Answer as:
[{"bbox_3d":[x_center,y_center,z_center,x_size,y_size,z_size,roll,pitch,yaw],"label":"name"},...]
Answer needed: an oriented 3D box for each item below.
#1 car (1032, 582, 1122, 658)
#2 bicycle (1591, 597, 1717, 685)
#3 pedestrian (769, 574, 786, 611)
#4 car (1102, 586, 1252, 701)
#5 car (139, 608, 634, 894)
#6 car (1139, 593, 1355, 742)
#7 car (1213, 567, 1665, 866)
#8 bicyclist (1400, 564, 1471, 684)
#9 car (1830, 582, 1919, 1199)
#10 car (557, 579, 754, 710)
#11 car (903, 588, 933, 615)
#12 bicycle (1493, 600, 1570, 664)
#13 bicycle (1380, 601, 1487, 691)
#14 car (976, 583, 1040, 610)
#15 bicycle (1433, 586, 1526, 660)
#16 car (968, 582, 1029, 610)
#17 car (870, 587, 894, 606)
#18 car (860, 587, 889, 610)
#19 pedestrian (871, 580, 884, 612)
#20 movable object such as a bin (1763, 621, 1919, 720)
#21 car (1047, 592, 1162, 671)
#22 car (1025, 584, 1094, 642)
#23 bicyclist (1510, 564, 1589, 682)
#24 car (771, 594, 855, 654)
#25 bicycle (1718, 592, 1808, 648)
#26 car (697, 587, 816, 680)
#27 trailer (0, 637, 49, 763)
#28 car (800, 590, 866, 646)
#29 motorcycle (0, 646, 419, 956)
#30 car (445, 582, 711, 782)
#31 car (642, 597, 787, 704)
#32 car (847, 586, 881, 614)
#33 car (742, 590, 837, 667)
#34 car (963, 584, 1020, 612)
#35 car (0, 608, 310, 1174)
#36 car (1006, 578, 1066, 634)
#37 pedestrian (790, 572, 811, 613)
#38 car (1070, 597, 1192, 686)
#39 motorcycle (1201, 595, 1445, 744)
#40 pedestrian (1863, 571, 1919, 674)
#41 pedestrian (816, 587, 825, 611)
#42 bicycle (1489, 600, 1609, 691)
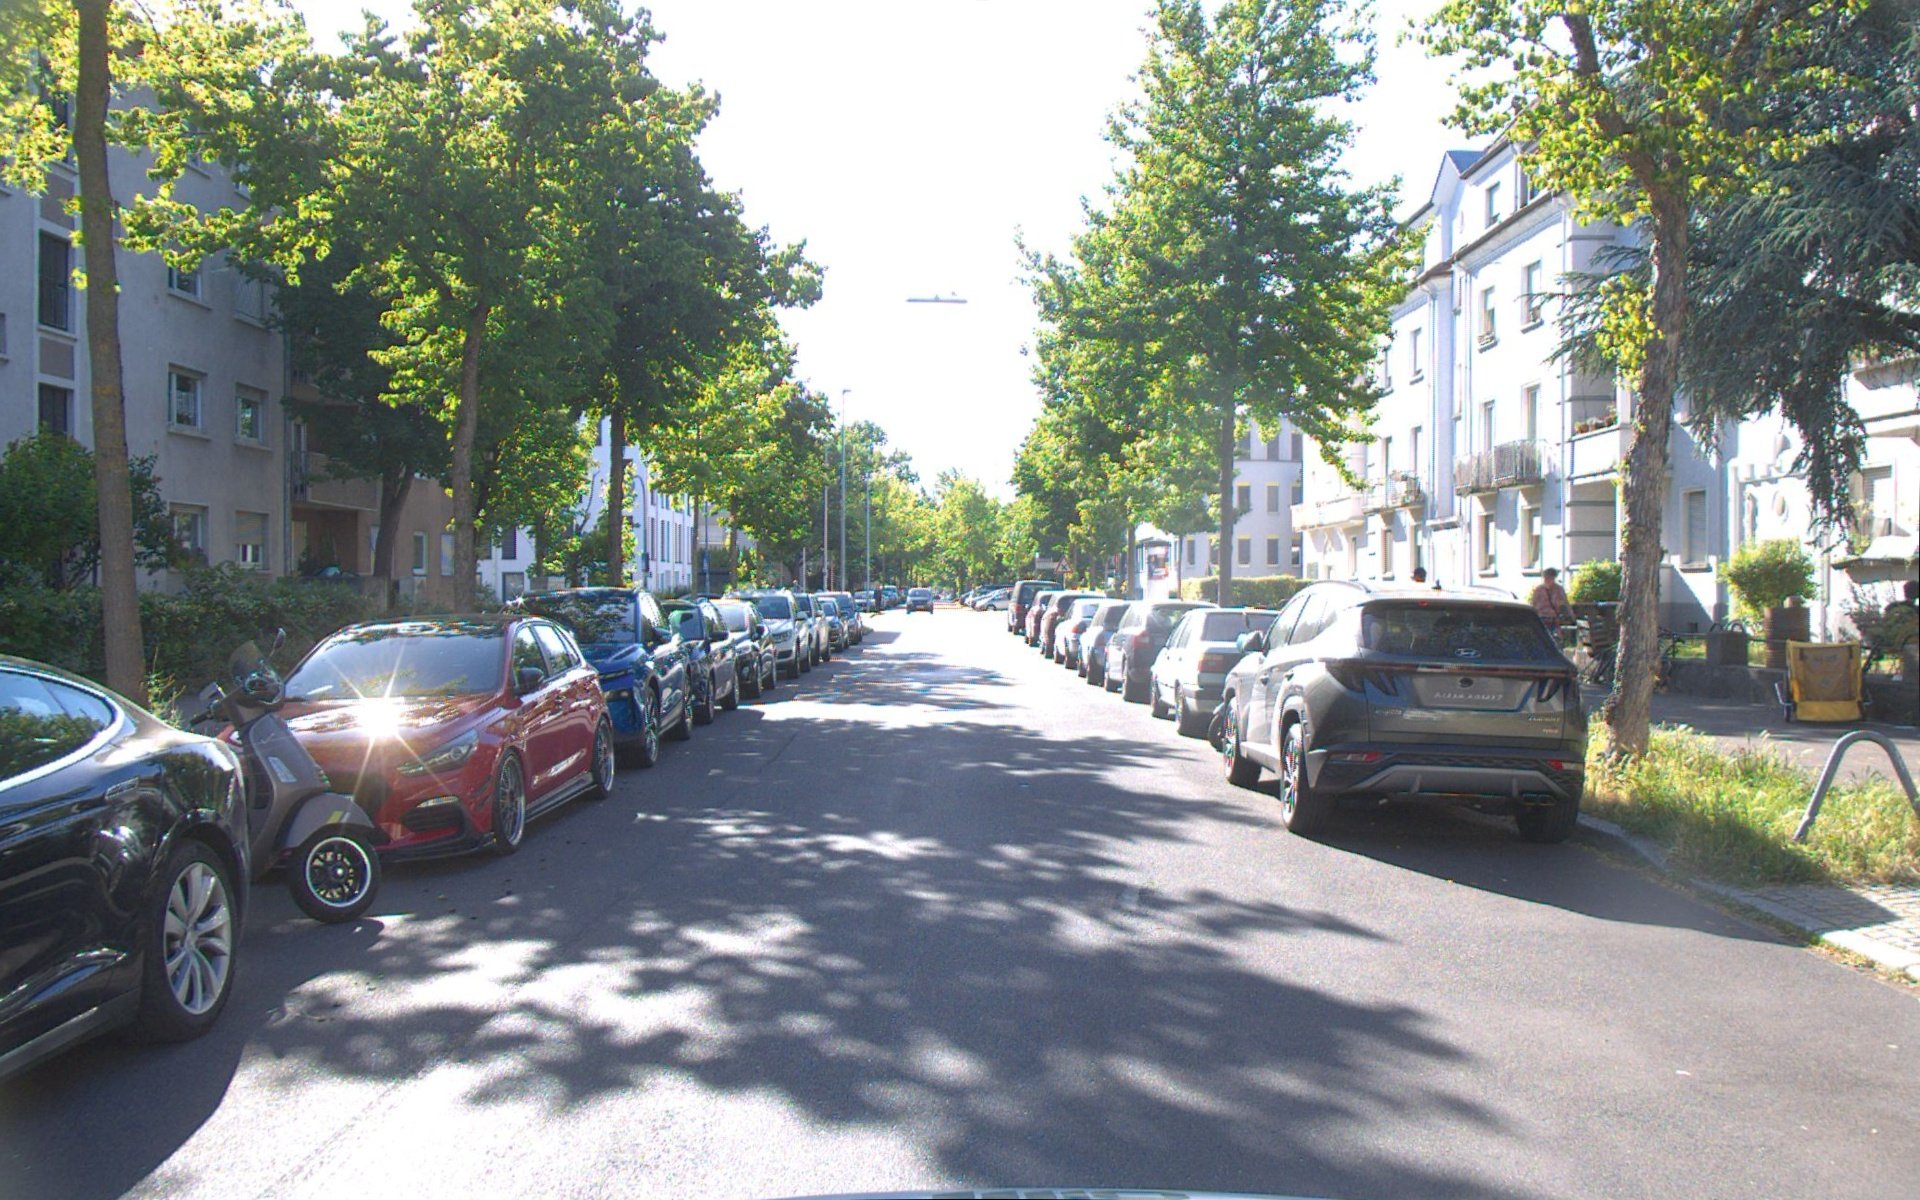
[{"bbox_3d":[2.907,0.457,41.881,1.868,1.728,4.313,2,1,-1],"label":"car"},{"bbox_3d":[9.399,0.535,22.479,0.788,1.135,1.999,0,0,-3],"label":"bicycle"},{"bbox_3d":[-10.374,-0.427,94.112,0.842,2.049,0.981,-1,0,-3],"label":"pedestrian"},{"bbox_3d":[3.218,0.590,25.299,1.658,1.567,4.441,1,1,0],"label":"car"},{"bbox_3d":[-3.470,0.811,10.936,1.743,1.403,4.262,-2,0,0],"label":"car"},{"bbox_3d":[3.265,0.699,19.658,1.715,1.479,4.462,2,1,0],"label":"car"},{"bbox_3d":[3.165,0.644,12.140,1.886,1.680,5.096,2,1,1],"label":"car"},{"bbox_3d":[6.623,0.327,23.078,0.663,1.637,0.921,-1,0,-4],"label":"bicyclist"},{"bbox_3d":[3.269,0.778,2.560,1.621,1.559,3.968,2,0,-2],"label":"car"},{"bbox_3d":[-3.807,0.510,21.341,1.792,1.478,4.121,-1,0,-1],"label":"car"},{"bbox_3d":[-2.603,0.066,101.713,1.747,1.637,3.998,-1,0,-3],"label":"car"},{"bbox_3d":[9.318,0.506,27.026,0.583,0.974,1.903,-1,0,-1],"label":"bicycle"},{"bbox_3d":[6.611,0.613,23.243,0.670,1.173,2.401,-1,0,-4],"label":"bicycle"},{"bbox_3d":[3.024,-0.241,104.685,3.909,1.615,1.725,-1,0,-5],"label":"car"},{"bbox_3d":[9.210,0.389,29.425,0.822,1.279,2.229,0,0,-4],"label":"bicycle"},{"bbox_3d":[2.536,-0.285,109.898,3.907,1.837,1.888,-1,0,-3],"label":"car"},{"bbox_3d":[-6.725,-0.337,143.172,1.953,1.613,4.000,-1,1,0],"label":"car"},{"bbox_3d":[-6.258,-0.122,121.391,1.953,1.613,4.000,-1,1,0],"label":"car"},{"bbox_3d":[-5.022,-0.219,100.499,0.702,1.933,0.835,-1,0,-10],"label":"pedestrian"},{"bbox_3d":[9.050,0.703,17.055,1.196,0.920,1.665,0,1,20],"label":"movable object such as a bin"},{"bbox_3d":[3.025,0.636,35.584,1.859,1.500,4.698,3,0,-2],"label":"car"},{"bbox_3d":[2.982,0.354,50.117,1.797,1.628,4.158,2,1,0],"label":"car"},{"bbox_3d":[8.118,0.300,22.812,0.663,1.580,1.021,-1,0,-4],"label":"bicyclist"},{"bbox_3d":[-4.030,0.615,45.934,1.953,1.478,4.261,-3,0,-1],"label":"car"},{"bbox_3d":[15.659,0.392,32.261,1.550,0.988,0.475,-3,0,-8],"label":"bicycle"},{"bbox_3d":[-3.812,0.587,31.620,1.774,1.624,4.232,-1,0,-1],"label":"car"},{"bbox_3d":[-9.071,0.870,13.169,1.752,1.052,3.282,0,0,1],"label":"trailer"},{"bbox_3d":[-3.948,0.521,52.005,1.802,1.623,4.261,-2,0,-1],"label":"car"},{"bbox_3d":[-3.840,0.927,7.912,2.244,1.292,0.806,-2,0,-11],"label":"motorcycle"},{"bbox_3d":[-3.580,0.682,16.295,1.754,1.594,4.462,-3,0,-4],"label":"car"},{"bbox_3d":[-3.787,0.734,26.087,1.726,1.469,3.908,-2,0,-1],"label":"car"},{"bbox_3d":[-6.136,-0.030,106.105,1.953,1.700,4.000,-1,1,0],"label":"car"},{"bbox_3d":[-3.778,0.587,37.225,1.675,1.571,3.930,-2,0,0],"label":"car"},{"bbox_3d":[2.239,-0.147,117.221,3.907,1.862,1.999,-1,0,-3],"label":"car"},{"bbox_3d":[-3.482,0.858,4.289,1.693,1.503,4.619,-4,0,0],"label":"car"},{"bbox_3d":[2.810,0.199,62.341,1.931,1.983,4.984,0,0,-1],"label":"car"},{"bbox_3d":[-8.103,-0.383,83.916,0.841,2.049,0.982,-1,0,8],"label":"pedestrian"},{"bbox_3d":[3.041,0.701,30.005,1.752,1.478,3.781,1,0,-1],"label":"car"},{"bbox_3d":[3.625,0.684,16.624,2.304,1.447,0.687,0,0,-2],"label":"motorcycle"},{"bbox_3d":[10.866,0.252,19.074,0.499,1.162,0.756,0,0,1],"label":"pedestrian"},{"bbox_3d":[-11.398,-0.106,135.197,0.747,1.934,0.817,-1,0,-7],"label":"pedestrian"},{"bbox_3d":[8.116,0.597,22.901,0.670,1.173,2.401,-1,0,-4],"label":"bicycle"}]
